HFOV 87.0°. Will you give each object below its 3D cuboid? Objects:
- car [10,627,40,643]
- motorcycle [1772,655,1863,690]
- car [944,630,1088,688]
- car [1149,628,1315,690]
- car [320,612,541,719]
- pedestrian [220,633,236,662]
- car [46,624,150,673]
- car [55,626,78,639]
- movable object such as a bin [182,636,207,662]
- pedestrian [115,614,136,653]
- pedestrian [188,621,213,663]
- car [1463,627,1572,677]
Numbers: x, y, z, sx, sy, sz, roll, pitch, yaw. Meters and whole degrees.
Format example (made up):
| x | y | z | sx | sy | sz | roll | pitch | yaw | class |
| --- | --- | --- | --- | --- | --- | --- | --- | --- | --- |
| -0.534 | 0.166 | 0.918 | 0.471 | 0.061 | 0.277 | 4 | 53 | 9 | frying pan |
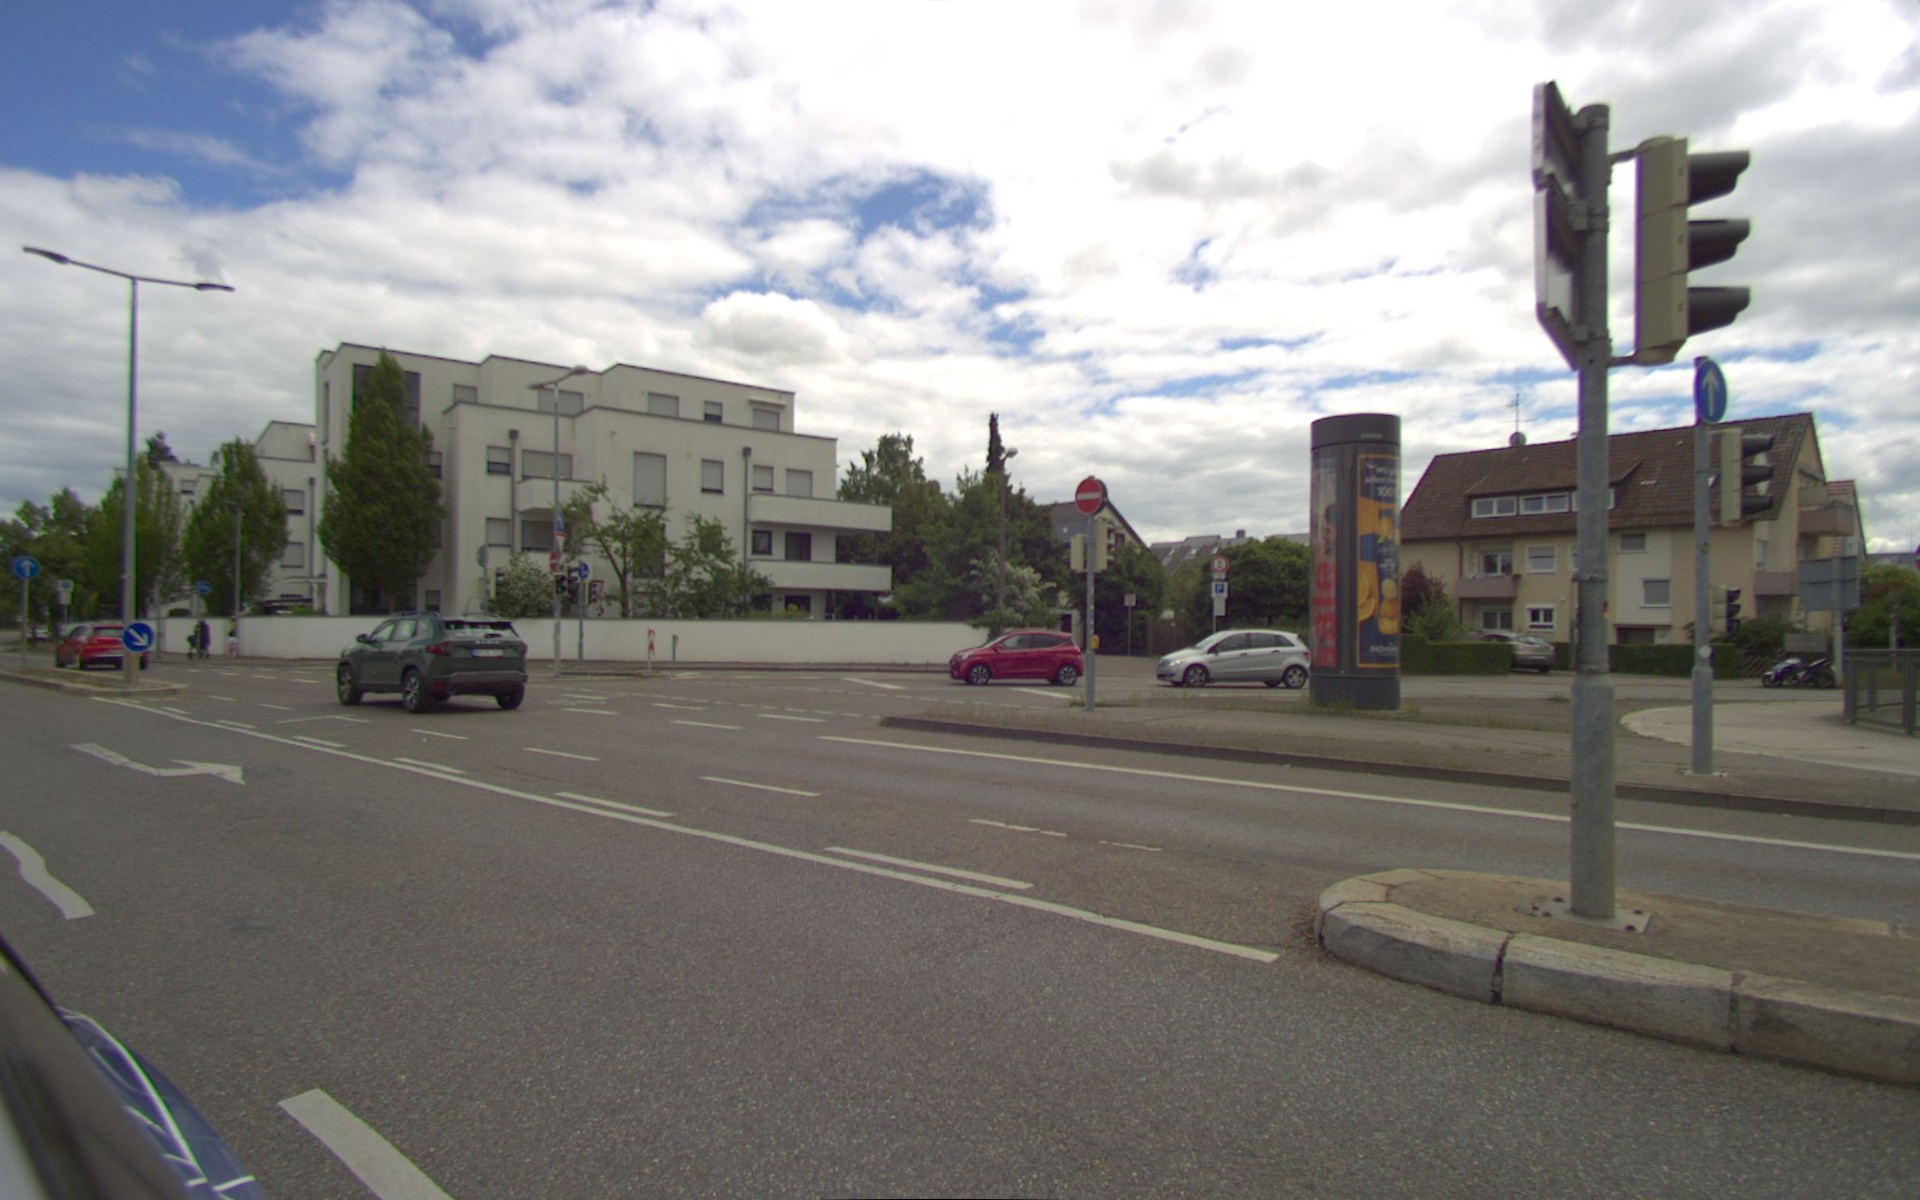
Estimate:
| x | y | z | sx | sy | sz | roll | pitch | yaw | class |
| --- | --- | --- | --- | --- | --- | --- | --- | --- | --- |
| -99.647 | 3.702 | 107.907 | 1.887 | 1.665 | 4.008 | 2 | -3 | -37 | car |
| 27.948 | 2.340 | 33.019 | 0.691 | 1.007 | 2.128 | 6 | -4 | -31 | motorcycle |
| 1.482 | 1.608 | 27.564 | 3.645 | 1.458 | 1.778 | 2 | -3 | -7 | car |
| 7.446 | 1.629 | 27.874 | 4.067 | 1.547 | 1.649 | 2 | -3 | -5 | car |
| -9.277 | 1.068 | 17.616 | 4.273 | 1.639 | 1.805 | -1 | -3 | 38 | car |
| -28.128 | 1.822 | 38.892 | 0.443 | 1.070 | 0.322 | -2 | 2 | 39 | pedestrian |
| -27.118 | 1.495 | 31.805 | 4.061 | 1.459 | 1.704 | -1 | -3 | 38 | car |
| -115.308 | 4.254 | 130.657 | 1.860 | 1.628 | 4.008 | 2 | -3 | -37 | car |
| -30.134 | 1.925 | 39.845 | 0.985 | 0.967 | 0.492 | -1 | 2 | 38 | movable object such as a bin |
| -42.734 | 1.728 | 51.839 | 0.871 | 1.962 | 0.642 | -1 | 1 | 40 | pedestrian |
| -29.505 | 1.620 | 39.308 | 0.731 | 1.554 | 0.526 | -2 | 2 | 38 | pedestrian |
| 21.128 | 1.920 | 38.559 | 1.761 | 1.592 | 4.002 | -2 | 1 | -2 | car |
